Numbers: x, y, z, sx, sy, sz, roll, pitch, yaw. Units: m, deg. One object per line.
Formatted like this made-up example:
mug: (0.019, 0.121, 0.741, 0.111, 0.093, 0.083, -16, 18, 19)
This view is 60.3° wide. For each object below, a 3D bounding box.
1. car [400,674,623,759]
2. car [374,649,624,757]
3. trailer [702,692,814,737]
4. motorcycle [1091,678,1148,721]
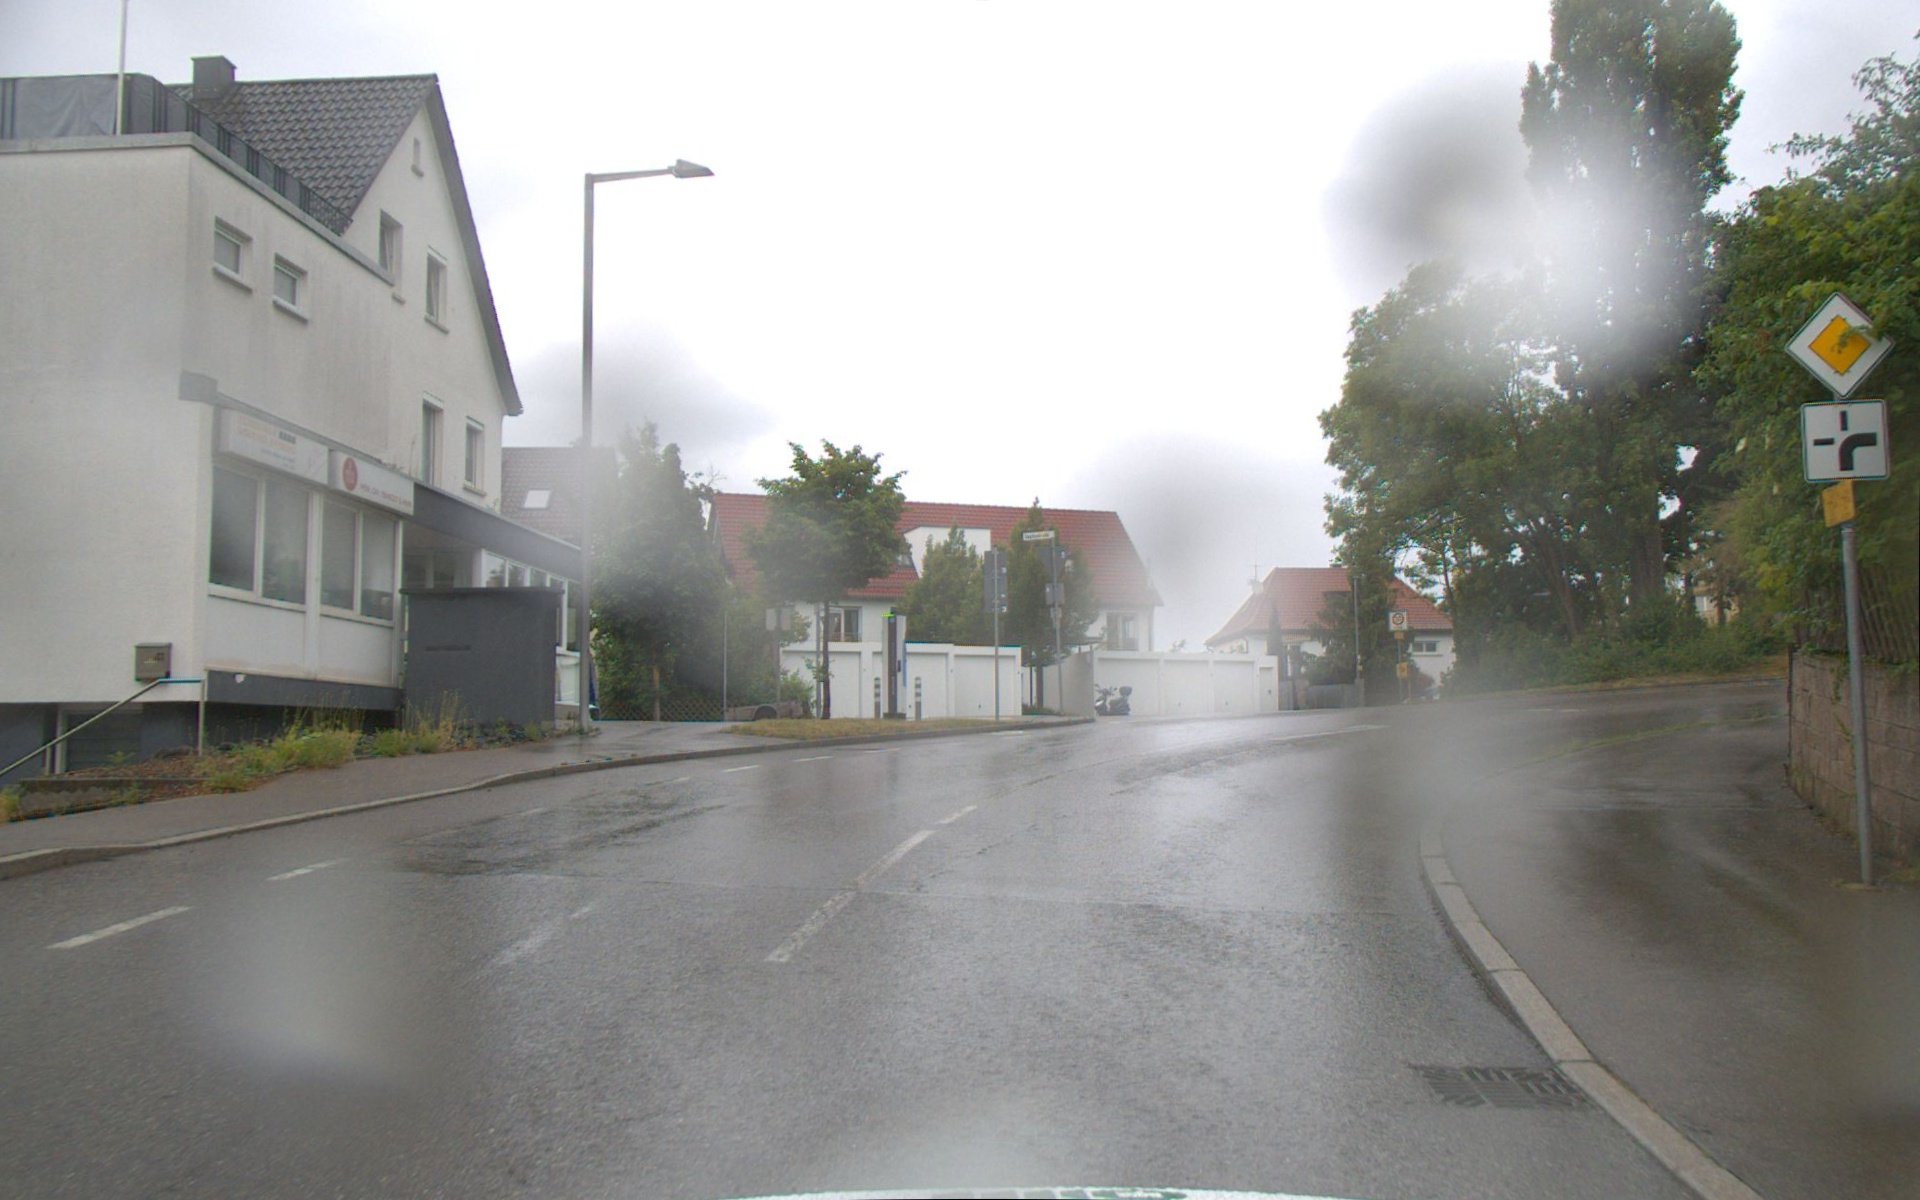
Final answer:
car: (-10.632, 2.773, 39.459, 4.679, 1.736, 2.067, -3, -4, 2)
car: (-12.425, 2.796, 44.891, 6.108, 2.568, 2.190, -3, -4, -2)
trailer: (-5.541, 3.139, 45.498, 2.755, 1.024, 1.594, -4, -3, 4)
motorcycle: (5.389, 3.346, 55.662, 2.029, 1.345, 0.698, 1, -5, -44)
